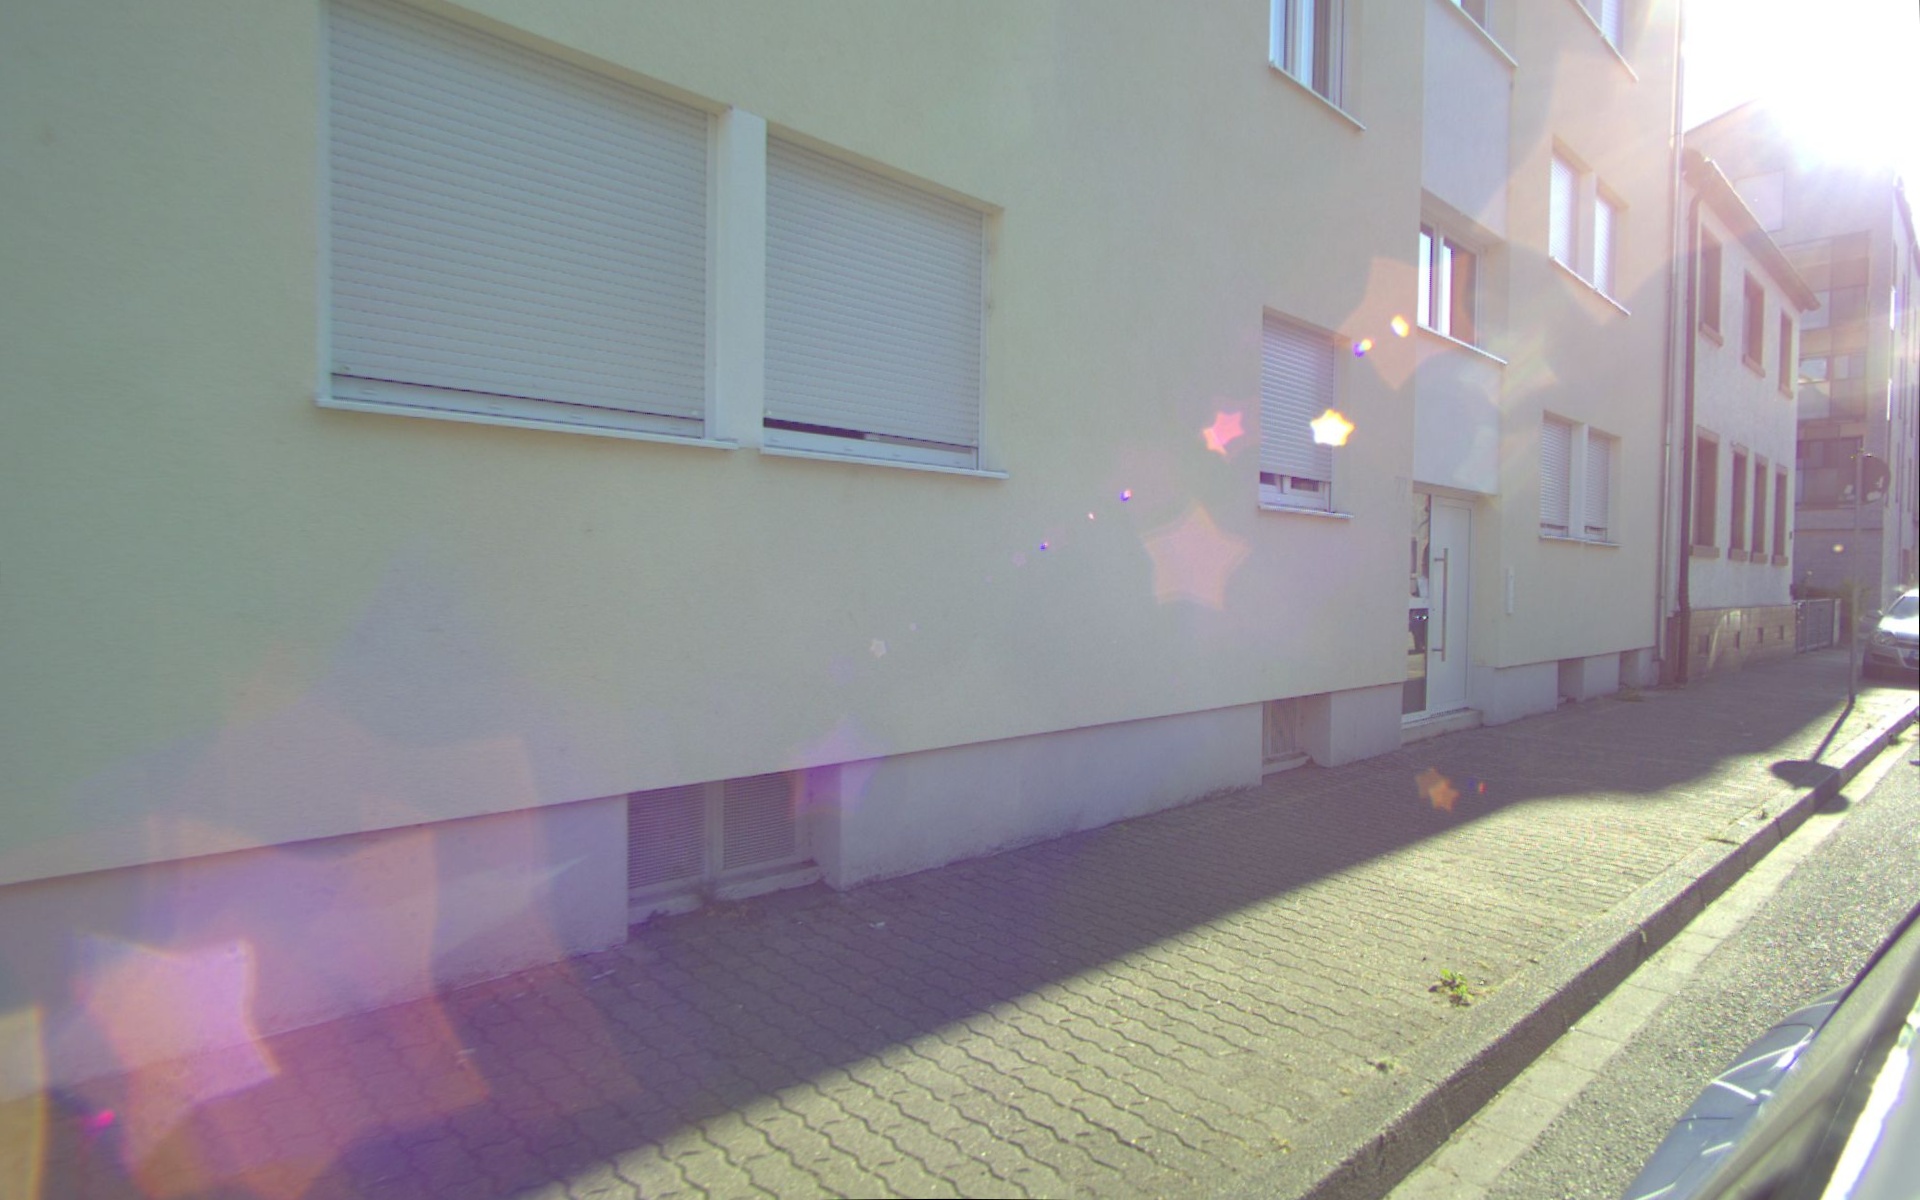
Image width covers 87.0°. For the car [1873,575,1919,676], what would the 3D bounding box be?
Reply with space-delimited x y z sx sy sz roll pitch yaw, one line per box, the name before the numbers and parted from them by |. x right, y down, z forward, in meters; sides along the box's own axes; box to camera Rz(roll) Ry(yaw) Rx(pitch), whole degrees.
car | 16.393 0.398 16.508 4.363 1.510 1.744 -1 4 -42
